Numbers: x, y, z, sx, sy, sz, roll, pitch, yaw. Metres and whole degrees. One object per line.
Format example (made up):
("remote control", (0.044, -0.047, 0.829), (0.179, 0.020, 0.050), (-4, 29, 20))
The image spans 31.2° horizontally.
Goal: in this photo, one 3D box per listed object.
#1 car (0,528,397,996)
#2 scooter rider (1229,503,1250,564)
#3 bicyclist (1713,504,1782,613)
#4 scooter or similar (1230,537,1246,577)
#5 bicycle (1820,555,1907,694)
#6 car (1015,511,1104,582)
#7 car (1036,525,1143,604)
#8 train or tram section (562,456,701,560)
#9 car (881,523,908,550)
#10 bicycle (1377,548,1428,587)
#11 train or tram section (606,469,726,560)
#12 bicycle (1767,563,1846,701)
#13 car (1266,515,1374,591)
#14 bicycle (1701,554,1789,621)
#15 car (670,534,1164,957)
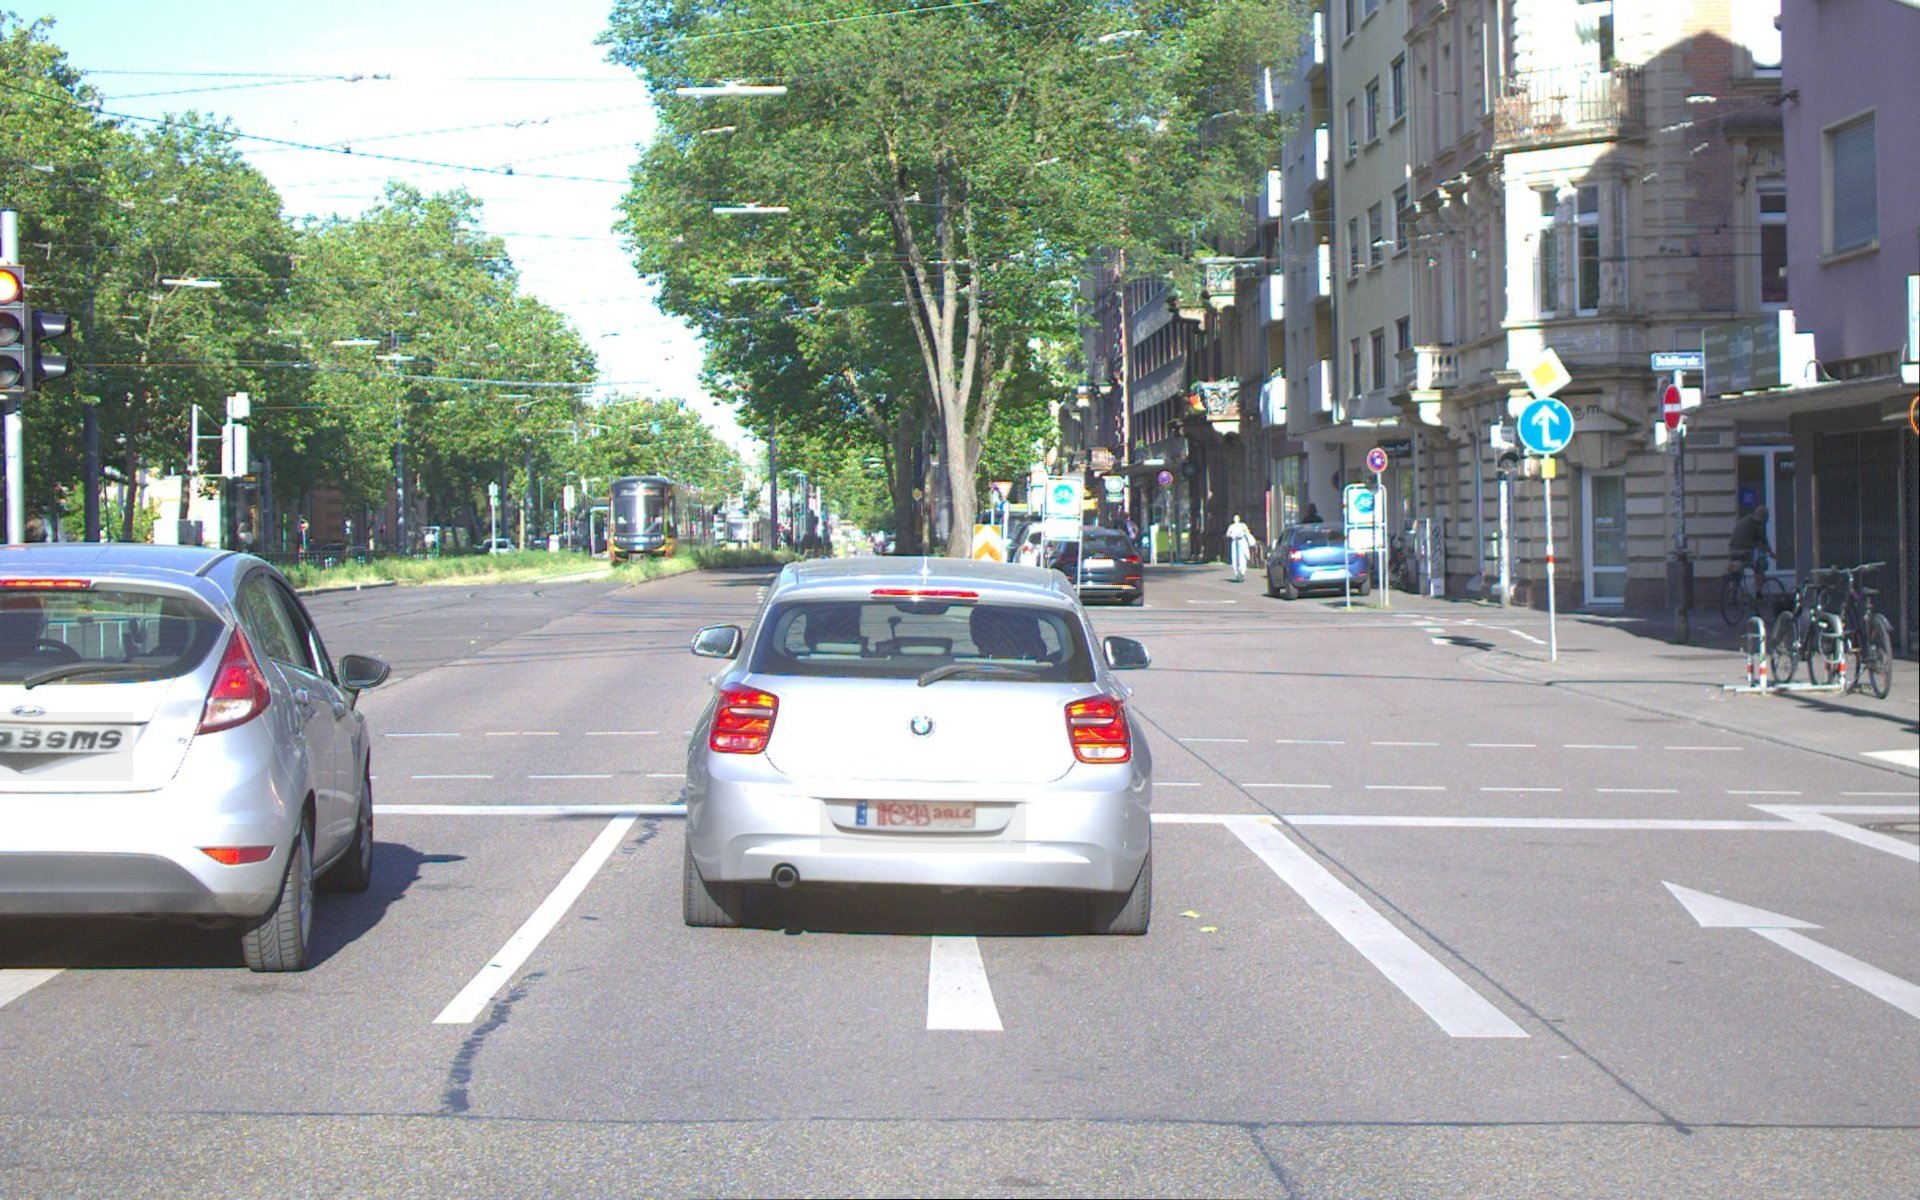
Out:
("car", (-3.076, 0.477, 12.851), (1.609, 1.462, 3.891), (-1, 1, -5))
("scooter rider", (6.911, -1.649, 85.109), (0.465, 1.500, 0.811), (0, 0, 2))
("bicyclist", (11.040, -0.590, 48.187), (0.548, 1.497, 0.959), (0, 2, 41))
("scooter or similar", (6.881, -1.066, 85.133), (0.337, 0.984, 1.284), (0, 2, 2))
("bicycle", (7.903, 0.199, 30.109), (0.448, 1.155, 1.758), (0, 2, 5))
("car", (2.172, -1.199, 75.992), (1.724, 1.501, 3.555), (1, 1, -2))
("car", (2.414, -0.689, 64.821), (1.735, 1.428, 3.678), (1, 1, -2))
("train or tram section", (-12.906, -3.636, 136.926), (3.969, 3.852, 17.490), (0, 1, -1))
("car", (-4.871, -4.740, 256.572), (1.993, 2.007, 4.000), (-1, 1, 0))
("bicycle", (9.138, -0.670, 71.048), (0.754, 0.768, 1.945), (0, 1, -2))
("train or tram section", (-13.055, -3.832, 154.421), (4.005, 3.852, 17.490), (0, 1, -1))
("bicycle", (7.404, 0.262, 30.114), (0.414, 1.137, 1.809), (0, 1, 6))
("car", (7.352, -0.985, 70.565), (1.735, 1.514, 3.637), (1, 1, -1))
("bicycle", (10.999, -0.182, 48.156), (0.654, 0.900, 1.335), (1, 2, 41))
("car", (-0.181, 0.482, 14.299), (1.740, 1.462, 4.000), (1, 1, -1))
